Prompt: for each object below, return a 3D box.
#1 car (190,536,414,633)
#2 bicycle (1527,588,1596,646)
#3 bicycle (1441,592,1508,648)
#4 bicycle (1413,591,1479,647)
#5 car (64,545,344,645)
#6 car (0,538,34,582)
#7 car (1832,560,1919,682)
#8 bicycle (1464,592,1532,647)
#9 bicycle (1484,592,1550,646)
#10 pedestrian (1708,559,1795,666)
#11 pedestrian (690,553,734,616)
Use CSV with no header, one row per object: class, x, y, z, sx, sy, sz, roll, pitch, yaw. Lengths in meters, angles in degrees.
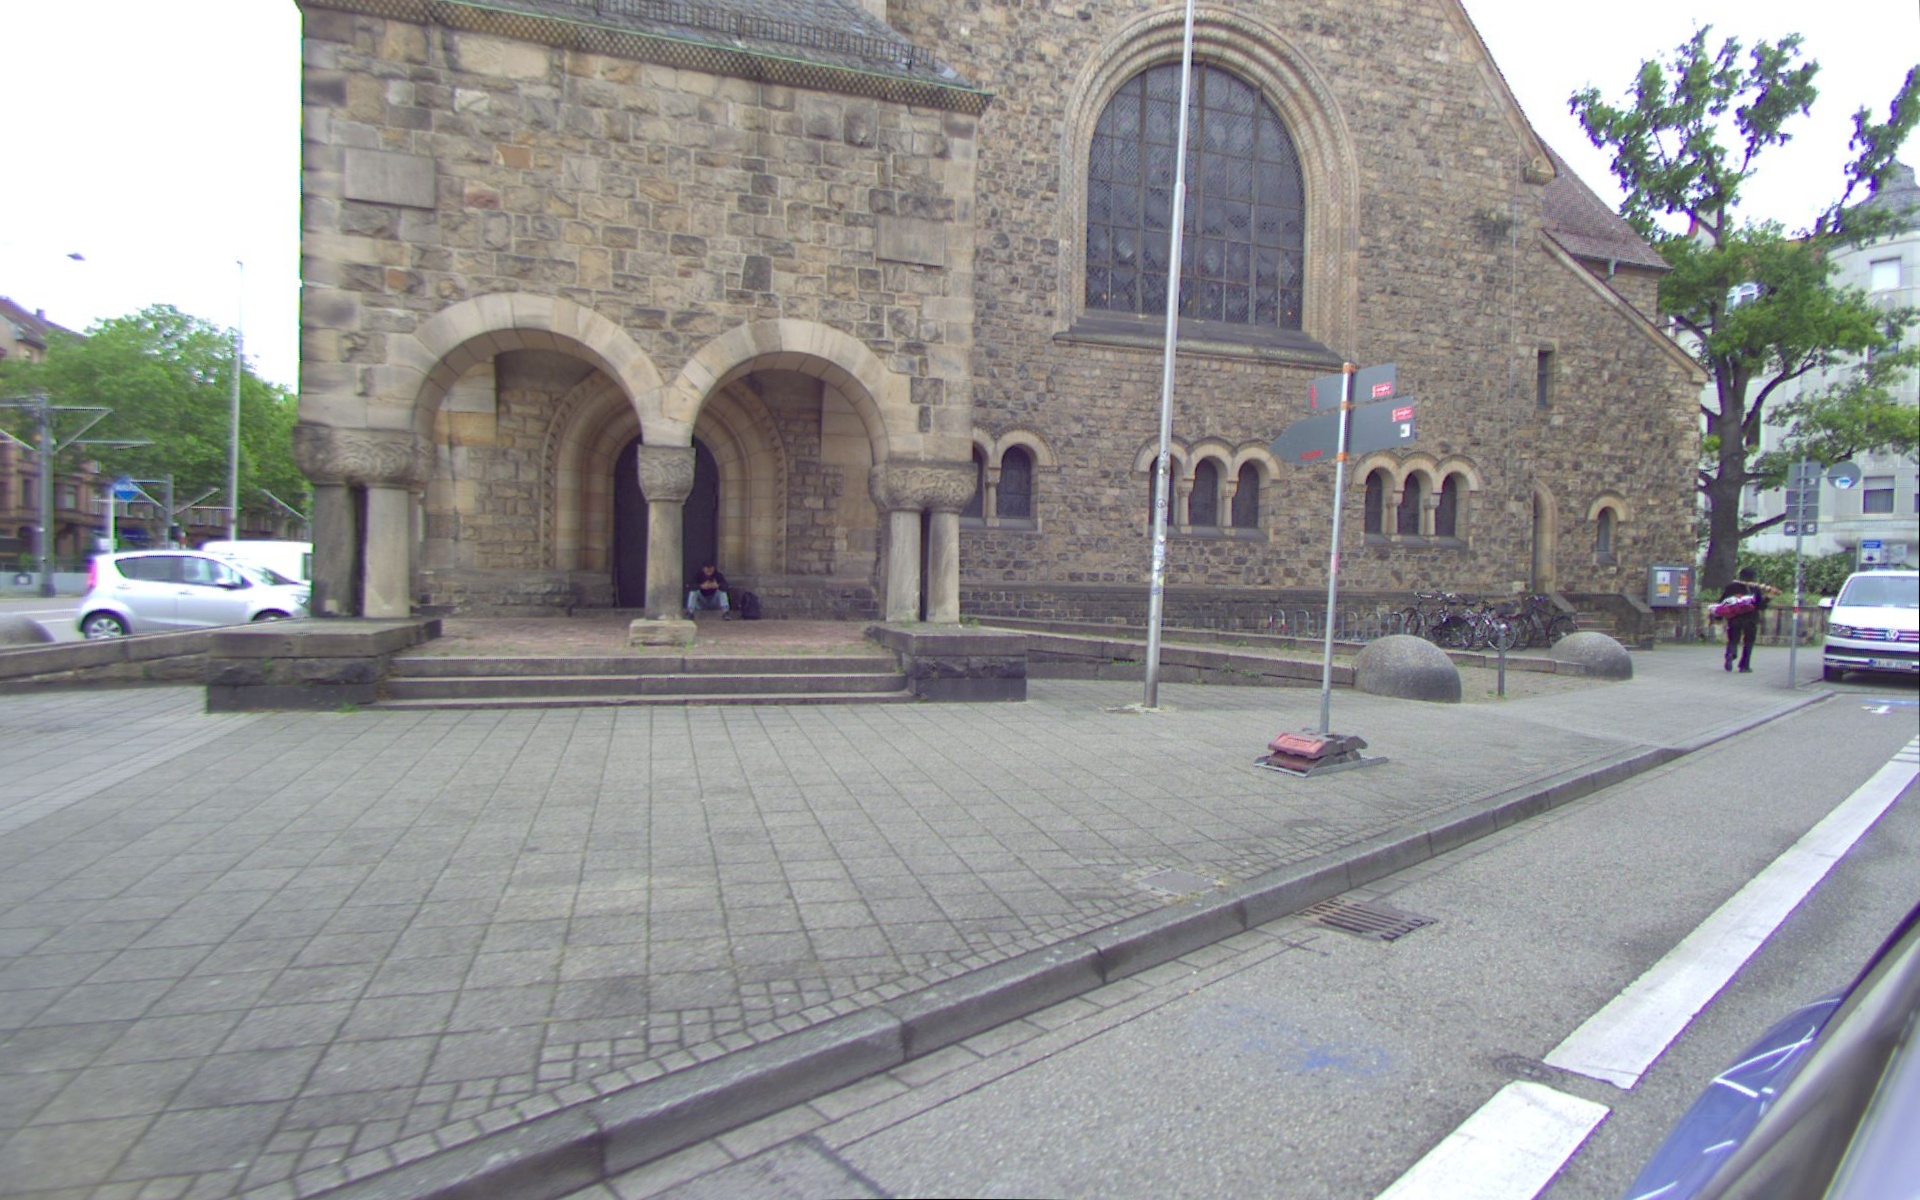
car,-13.008,-0.301,20.223,3.394,1.815,1.691,0,1,-14
bicycle,12.662,0.350,21.335,0.304,1.161,1.346,1,1,-18
bicycle,10.487,0.384,20.663,0.304,1.073,1.387,1,1,-18
bicycle,9.889,0.368,20.645,0.304,1.073,1.387,1,1,-18
car,-12.460,-0.087,16.907,3.394,1.549,1.622,0,1,-14
car,-61.216,-2.458,61.724,2.212,2.762,7.084,0,1,11
car,17.049,0.330,17.908,5.075,1.943,1.808,0,2,-42
bicycle,11.146,0.384,21.009,0.304,1.073,1.387,1,1,-18
bicycle,11.700,0.383,21.309,0.304,1.073,1.346,1,1,-18
pedestrian,14.051,0.200,17.980,0.998,1.831,0.818,-2,2,-20
pedestrian,-3.922,-0.241,15.988,0.602,0.963,0.675,1,1,-18
